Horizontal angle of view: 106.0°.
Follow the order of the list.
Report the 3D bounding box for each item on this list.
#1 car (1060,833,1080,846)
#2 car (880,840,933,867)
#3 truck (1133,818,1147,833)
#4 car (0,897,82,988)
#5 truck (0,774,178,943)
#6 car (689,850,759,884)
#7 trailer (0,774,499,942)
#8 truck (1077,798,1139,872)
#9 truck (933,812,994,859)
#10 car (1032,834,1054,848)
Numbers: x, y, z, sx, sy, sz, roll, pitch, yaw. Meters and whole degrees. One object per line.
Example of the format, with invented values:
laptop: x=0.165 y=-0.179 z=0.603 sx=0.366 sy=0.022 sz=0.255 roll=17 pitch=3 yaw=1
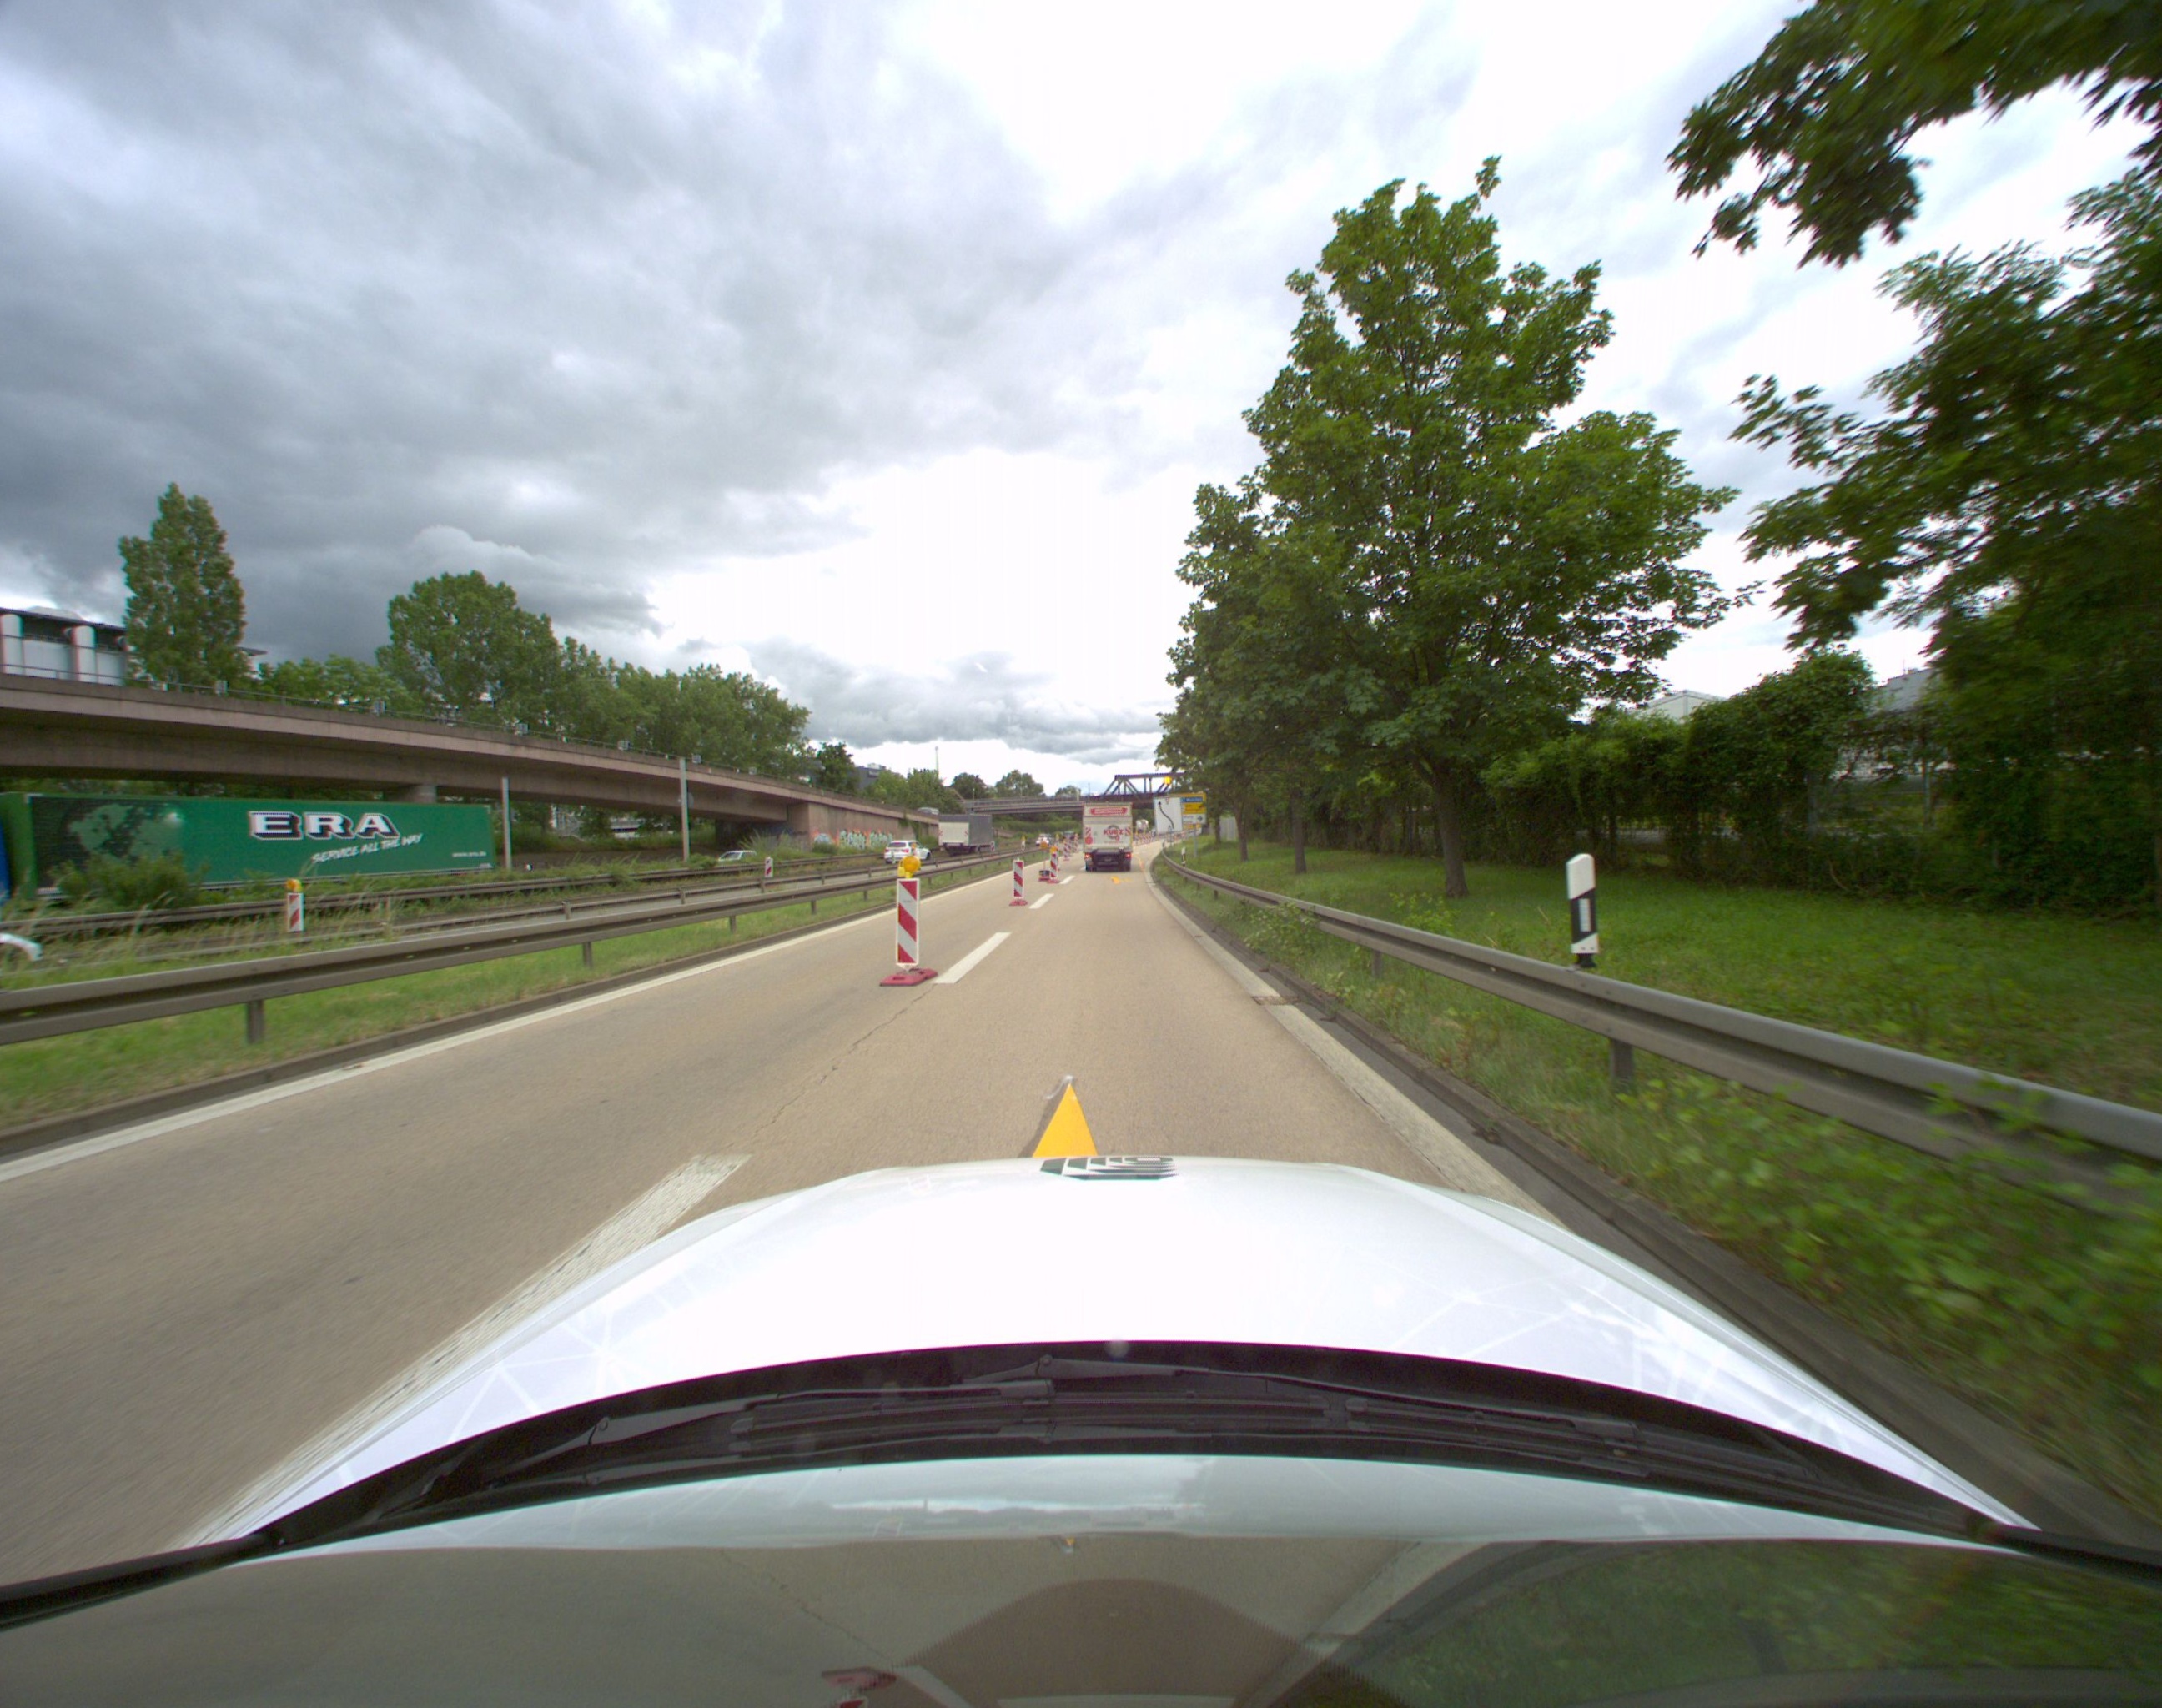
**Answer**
car: x=-1.329 y=-1.801 z=102.661 sx=1.983 sy=1.618 sz=4.008 roll=-1 pitch=1 yaw=6
car: x=-11.712 y=-0.070 z=55.025 sx=1.981 sy=1.712 sz=4.114 roll=-1 pitch=1 yaw=11
truck: x=15.268 y=-7.313 z=209.504 sx=3.269 sy=3.852 sz=7.679 roll=-1 pitch=1 yaw=6
car: x=-19.389 y=1.566 z=12.430 sx=1.981 sy=1.455 sz=4.816 roll=-1 pitch=1 yaw=11
truck: x=-28.503 y=0.130 z=21.471 sx=2.735 sy=4.271 sz=5.519 roll=-1 pitch=1 yaw=10
car: x=-22.690 y=0.808 z=51.932 sx=1.979 sy=2.013 sz=4.015 roll=-1 pitch=1 yaw=14
trailer: x=-27.400 y=-0.001 z=27.954 sx=2.754 sy=4.293 sz=14.019 roll=-1 pitch=1 yaw=10
truck: x=1.603 y=-1.006 z=44.936 sx=3.037 sy=3.673 sz=7.935 roll=-1 pitch=0 yaw=4
truck: x=-9.631 y=-1.512 z=67.830 sx=3.034 sy=3.656 sz=7.411 roll=-1 pitch=1 yaw=7
car: x=-4.635 y=-1.584 z=98.916 sx=1.983 sy=1.618 sz=4.008 roll=-1 pitch=1 yaw=6
